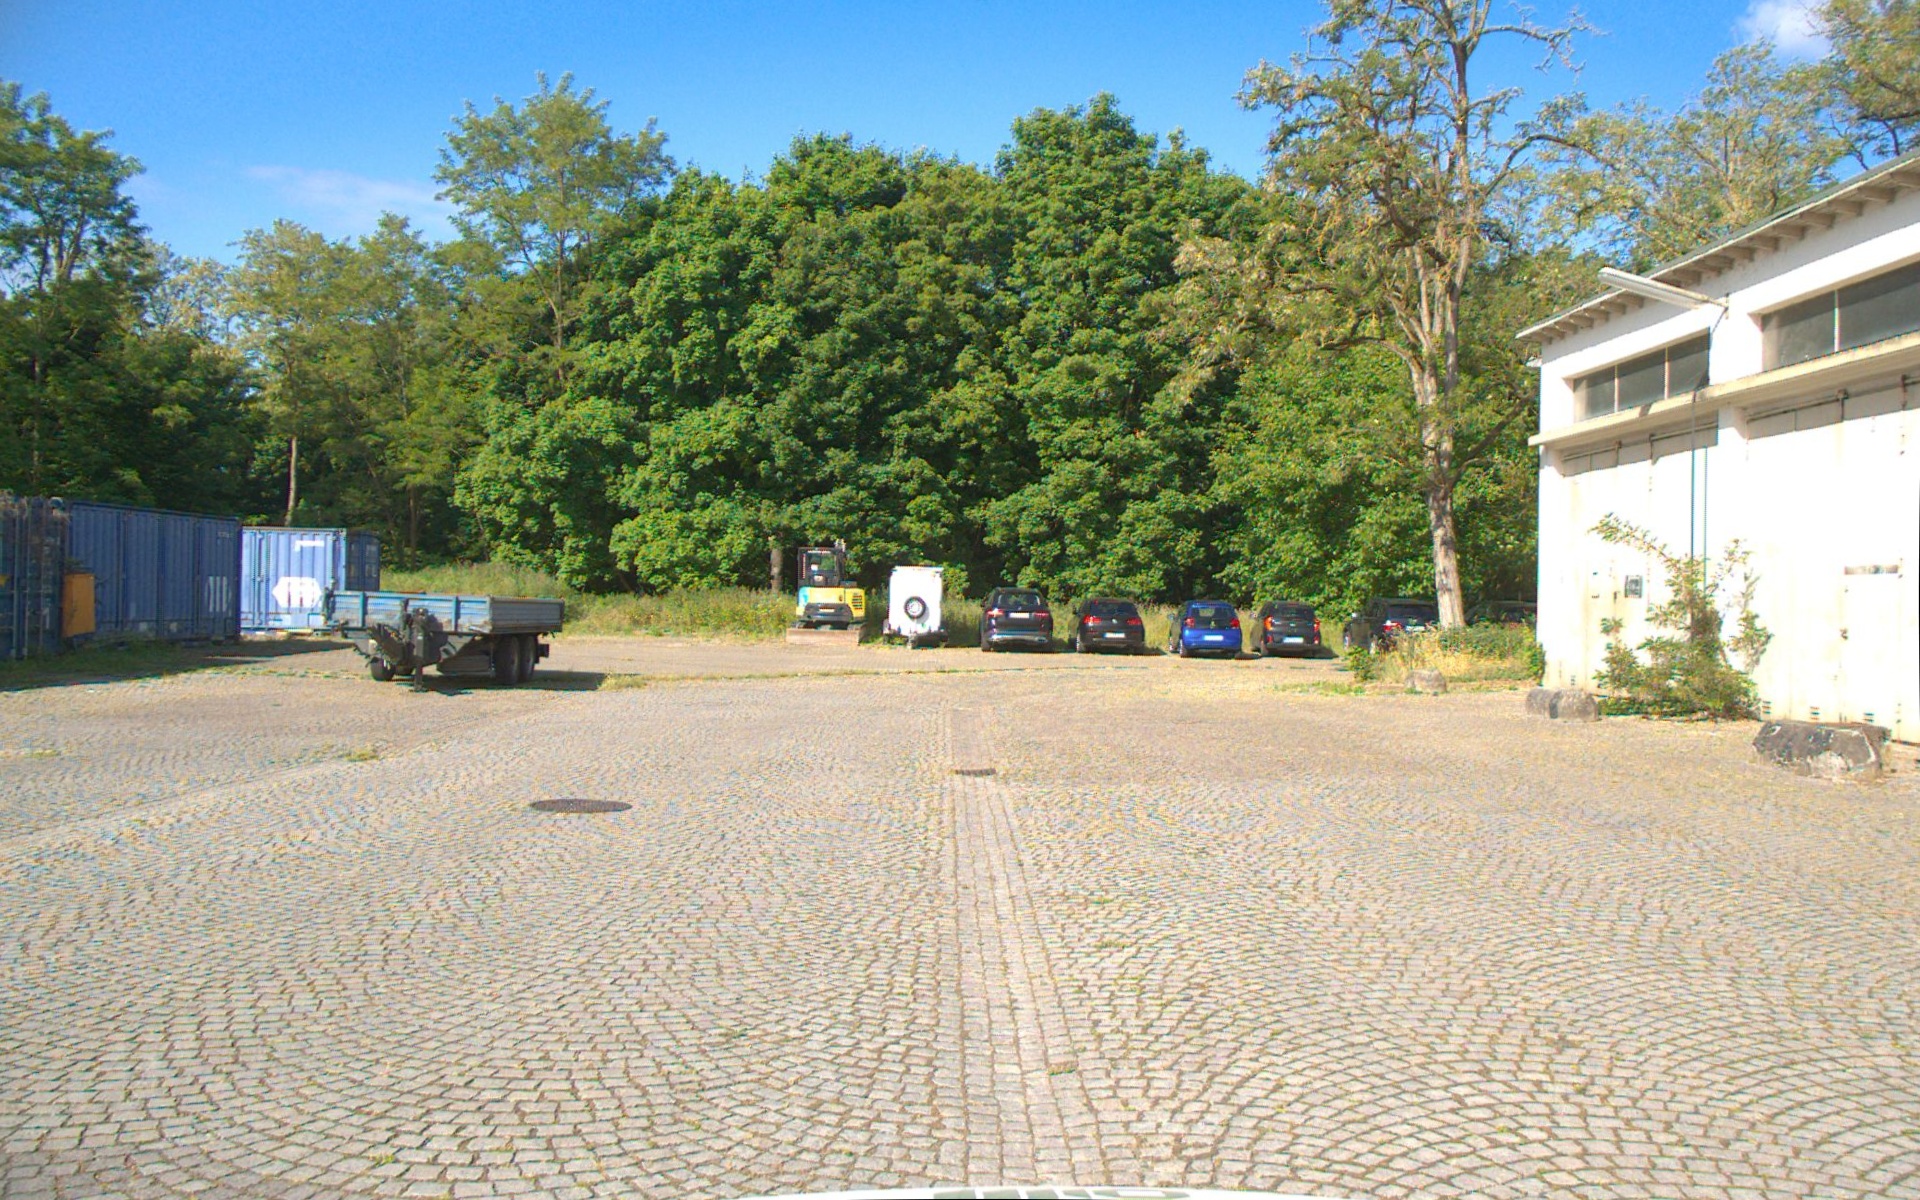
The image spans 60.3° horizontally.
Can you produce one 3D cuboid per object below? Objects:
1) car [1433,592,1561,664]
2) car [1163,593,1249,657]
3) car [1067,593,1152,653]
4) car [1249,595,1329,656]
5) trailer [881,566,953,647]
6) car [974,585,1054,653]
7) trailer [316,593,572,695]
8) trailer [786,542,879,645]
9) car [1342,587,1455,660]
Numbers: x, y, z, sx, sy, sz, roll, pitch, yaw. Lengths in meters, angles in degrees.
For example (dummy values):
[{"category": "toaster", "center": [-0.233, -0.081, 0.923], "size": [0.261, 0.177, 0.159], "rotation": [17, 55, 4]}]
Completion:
[{"category": "car", "center": [14.598, 0.722, 45.240], "size": [1.788, 1.616, 4.271], "rotation": [0, 4, -5]}, {"category": "car", "center": [6.513, 0.632, 44.164], "size": [1.743, 1.484, 3.790], "rotation": [2, 1, 0]}, {"category": "car", "center": [3.938, 0.580, 44.060], "size": [1.850, 1.436, 3.790], "rotation": [2, 1, -1]}, {"category": "car", "center": [8.960, 0.661, 45.243], "size": [1.702, 1.476, 3.727], "rotation": [2, 1, 5]}, {"category": "trailer", "center": [-1.135, 0.134, 44.867], "size": [1.781, 2.086, 2.851], "rotation": [2, 1, 1]}, {"category": "car", "center": [1.381, 0.458, 43.679], "size": [1.924, 1.617, 4.131], "rotation": [2, 1, -1]}, {"category": "trailer", "center": [-8.107, 0.659, 26.613], "size": [2.587, 1.439, 4.861], "rotation": [1, 0, 0]}, {"category": "trailer", "center": [-3.452, -0.217, 45.108], "size": [2.212, 2.582, 2.852], "rotation": [2, 3, 1]}, {"category": "car", "center": [11.776, 0.597, 44.733], "size": [1.836, 1.659, 4.274], "rotation": [2, 3, -1]}]
